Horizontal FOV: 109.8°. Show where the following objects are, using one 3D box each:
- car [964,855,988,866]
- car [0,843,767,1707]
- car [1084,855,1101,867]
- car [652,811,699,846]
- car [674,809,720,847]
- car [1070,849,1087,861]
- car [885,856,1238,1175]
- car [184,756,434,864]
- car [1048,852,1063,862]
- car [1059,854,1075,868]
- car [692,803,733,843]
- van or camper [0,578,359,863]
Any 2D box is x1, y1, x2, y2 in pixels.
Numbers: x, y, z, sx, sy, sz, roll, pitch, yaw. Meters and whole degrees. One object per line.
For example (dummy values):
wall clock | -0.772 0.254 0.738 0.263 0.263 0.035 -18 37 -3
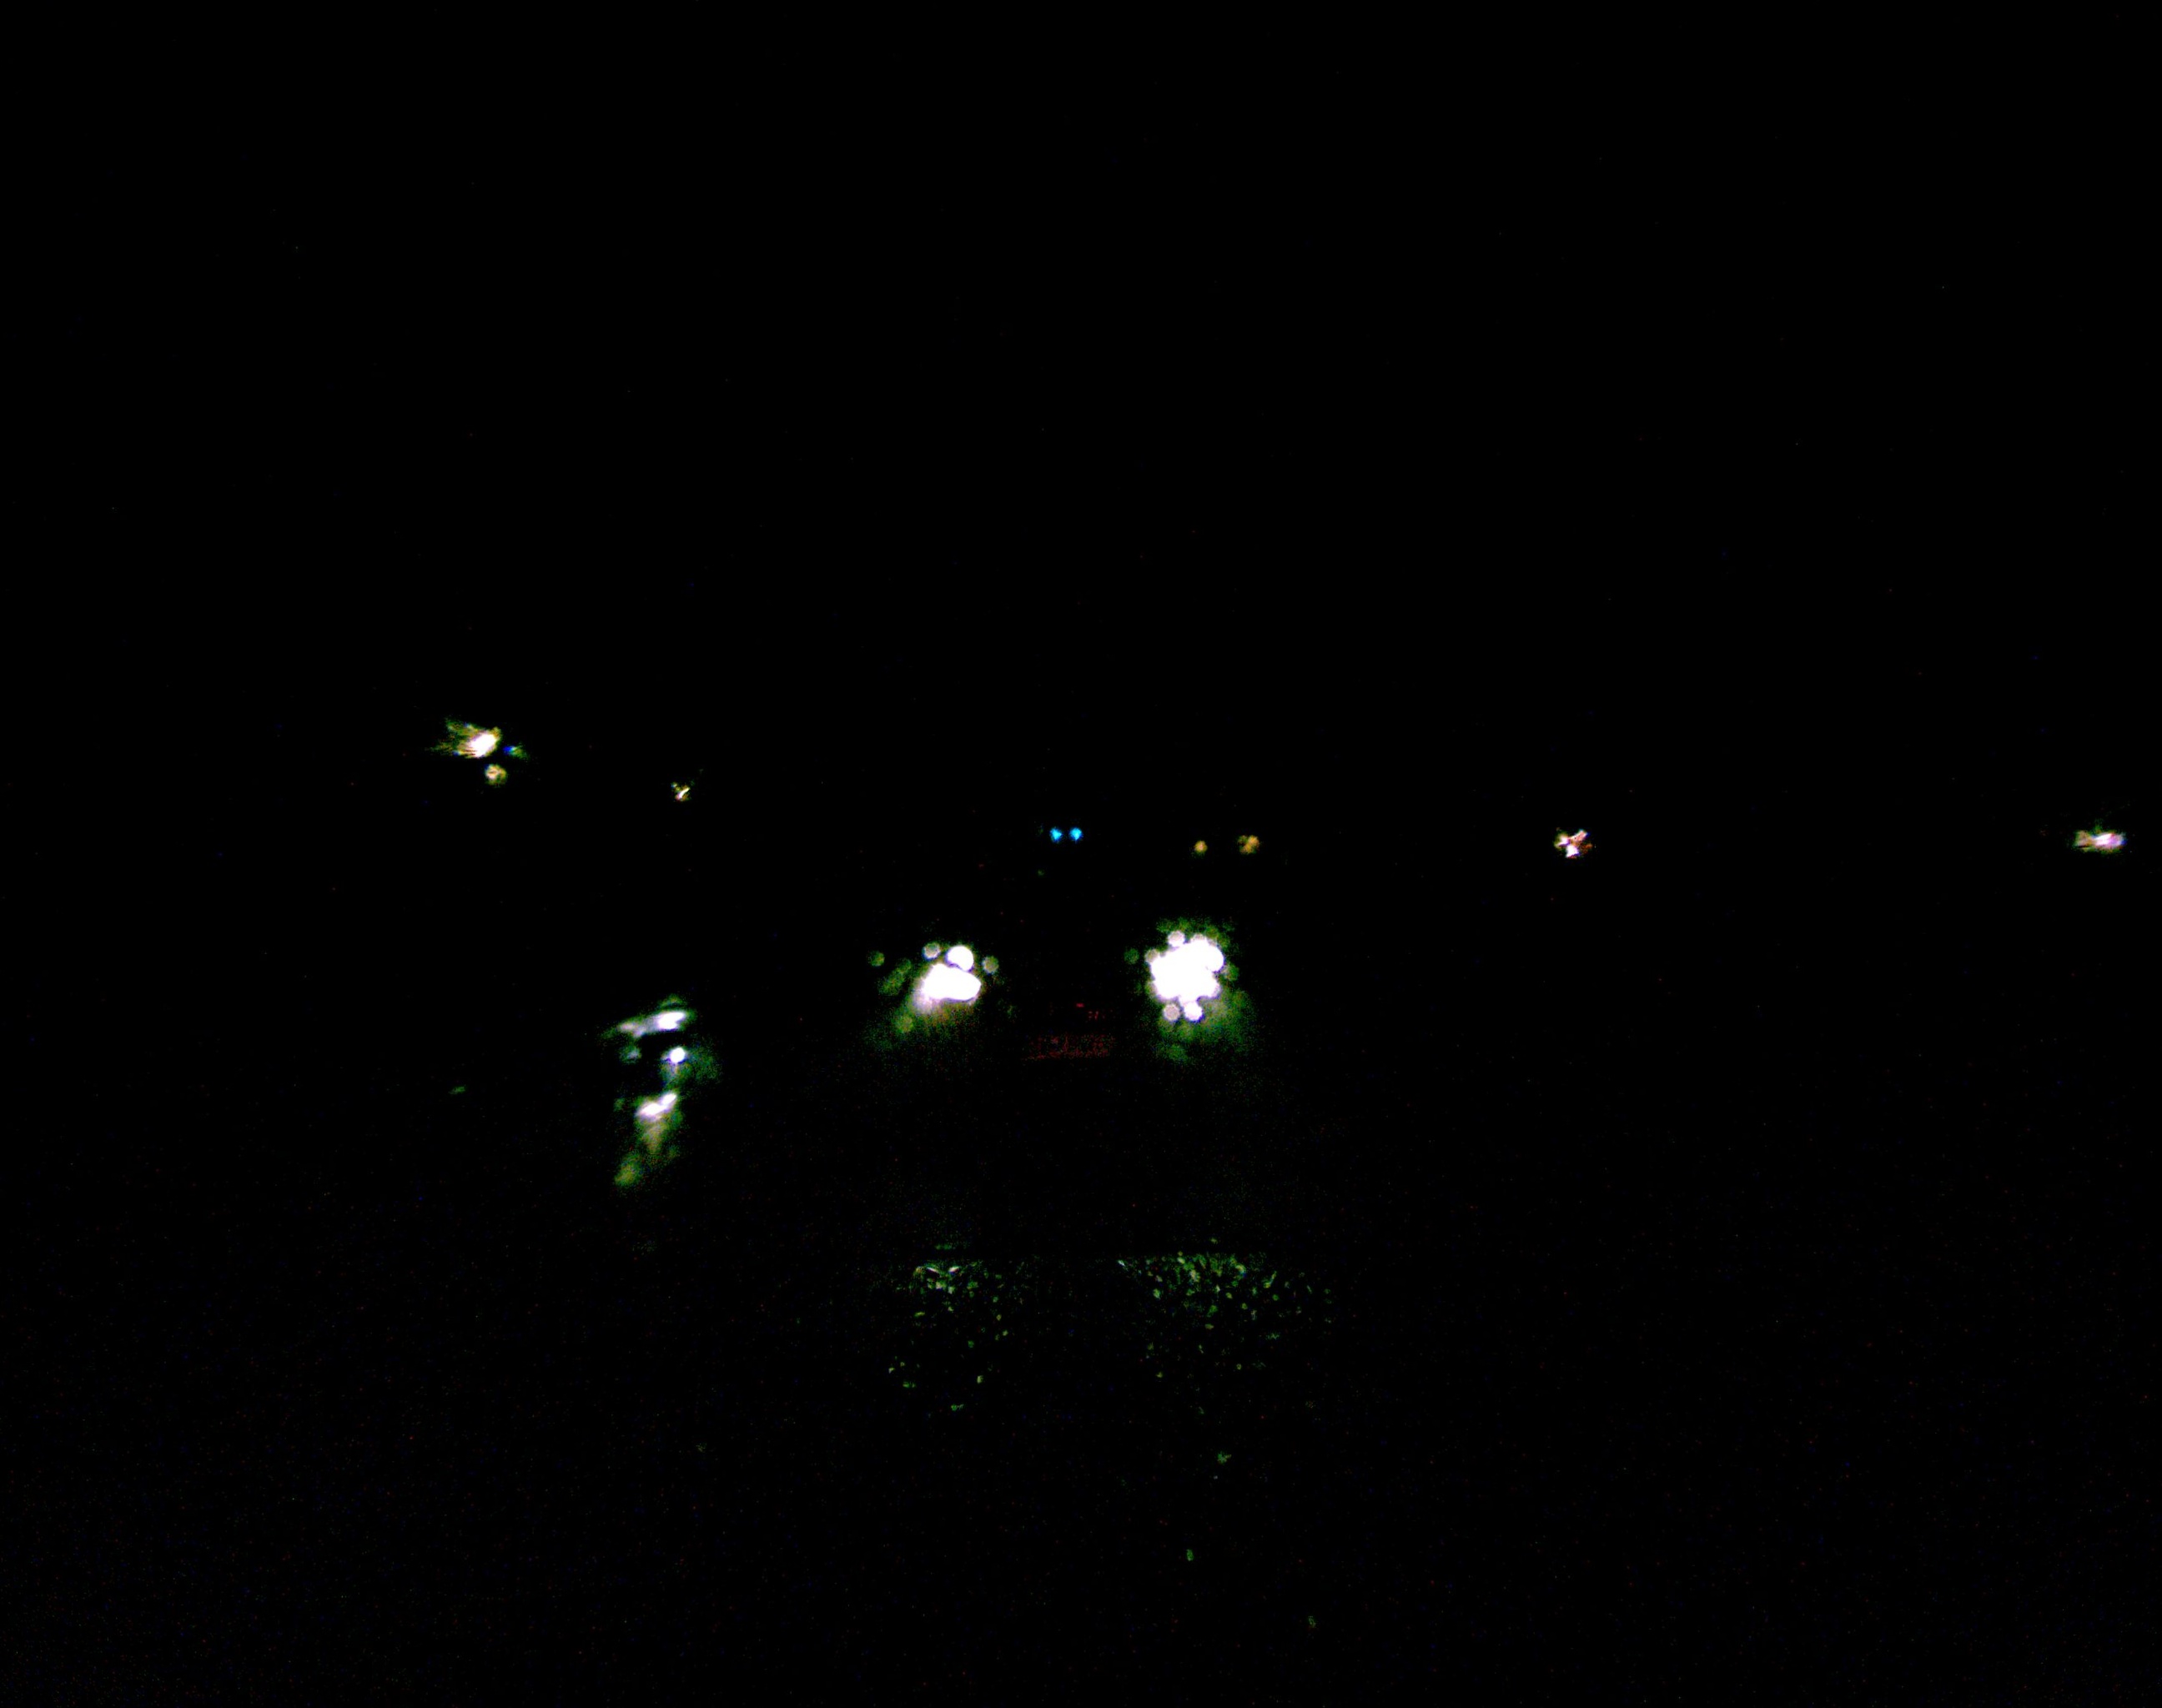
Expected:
car | -19.519 1.195 141.391 3.989 2.002 2.004 -2 1 35
car | -2.583 0.882 1.278 1.839 1.725 4.941 -2 1 2
car | 1.542 0.993 104.057 1.893 1.559 4.484 -2 -1 -5
car | -25.001 -1.557 46.925 1.735 2.002 3.696 -3 1 -16
car | -26.341 -1.772 52.233 1.937 2.406 4.249 -3 1 -16
car | -0.491 0.117 133.635 2.092 2.002 4.709 -2 1 -10
car | -0.073 0.872 6.233 1.826 1.573 4.354 -2 1 1
car | -16.379 -0.865 16.476 2.001 2.002 3.994 -3 1 -16
car | -4.396 0.504 130.381 2.000 1.687 3.996 -3 1 -11
car | -2.176 0.987 116.700 1.999 2.002 3.997 -2 1 -6
car | -27.797 -2.281 57.442 1.937 2.759 4.249 -3 1 -16
van or camper | -12.758 -1.318 9.970 2.417 2.777 5.763 -3 1 -18
